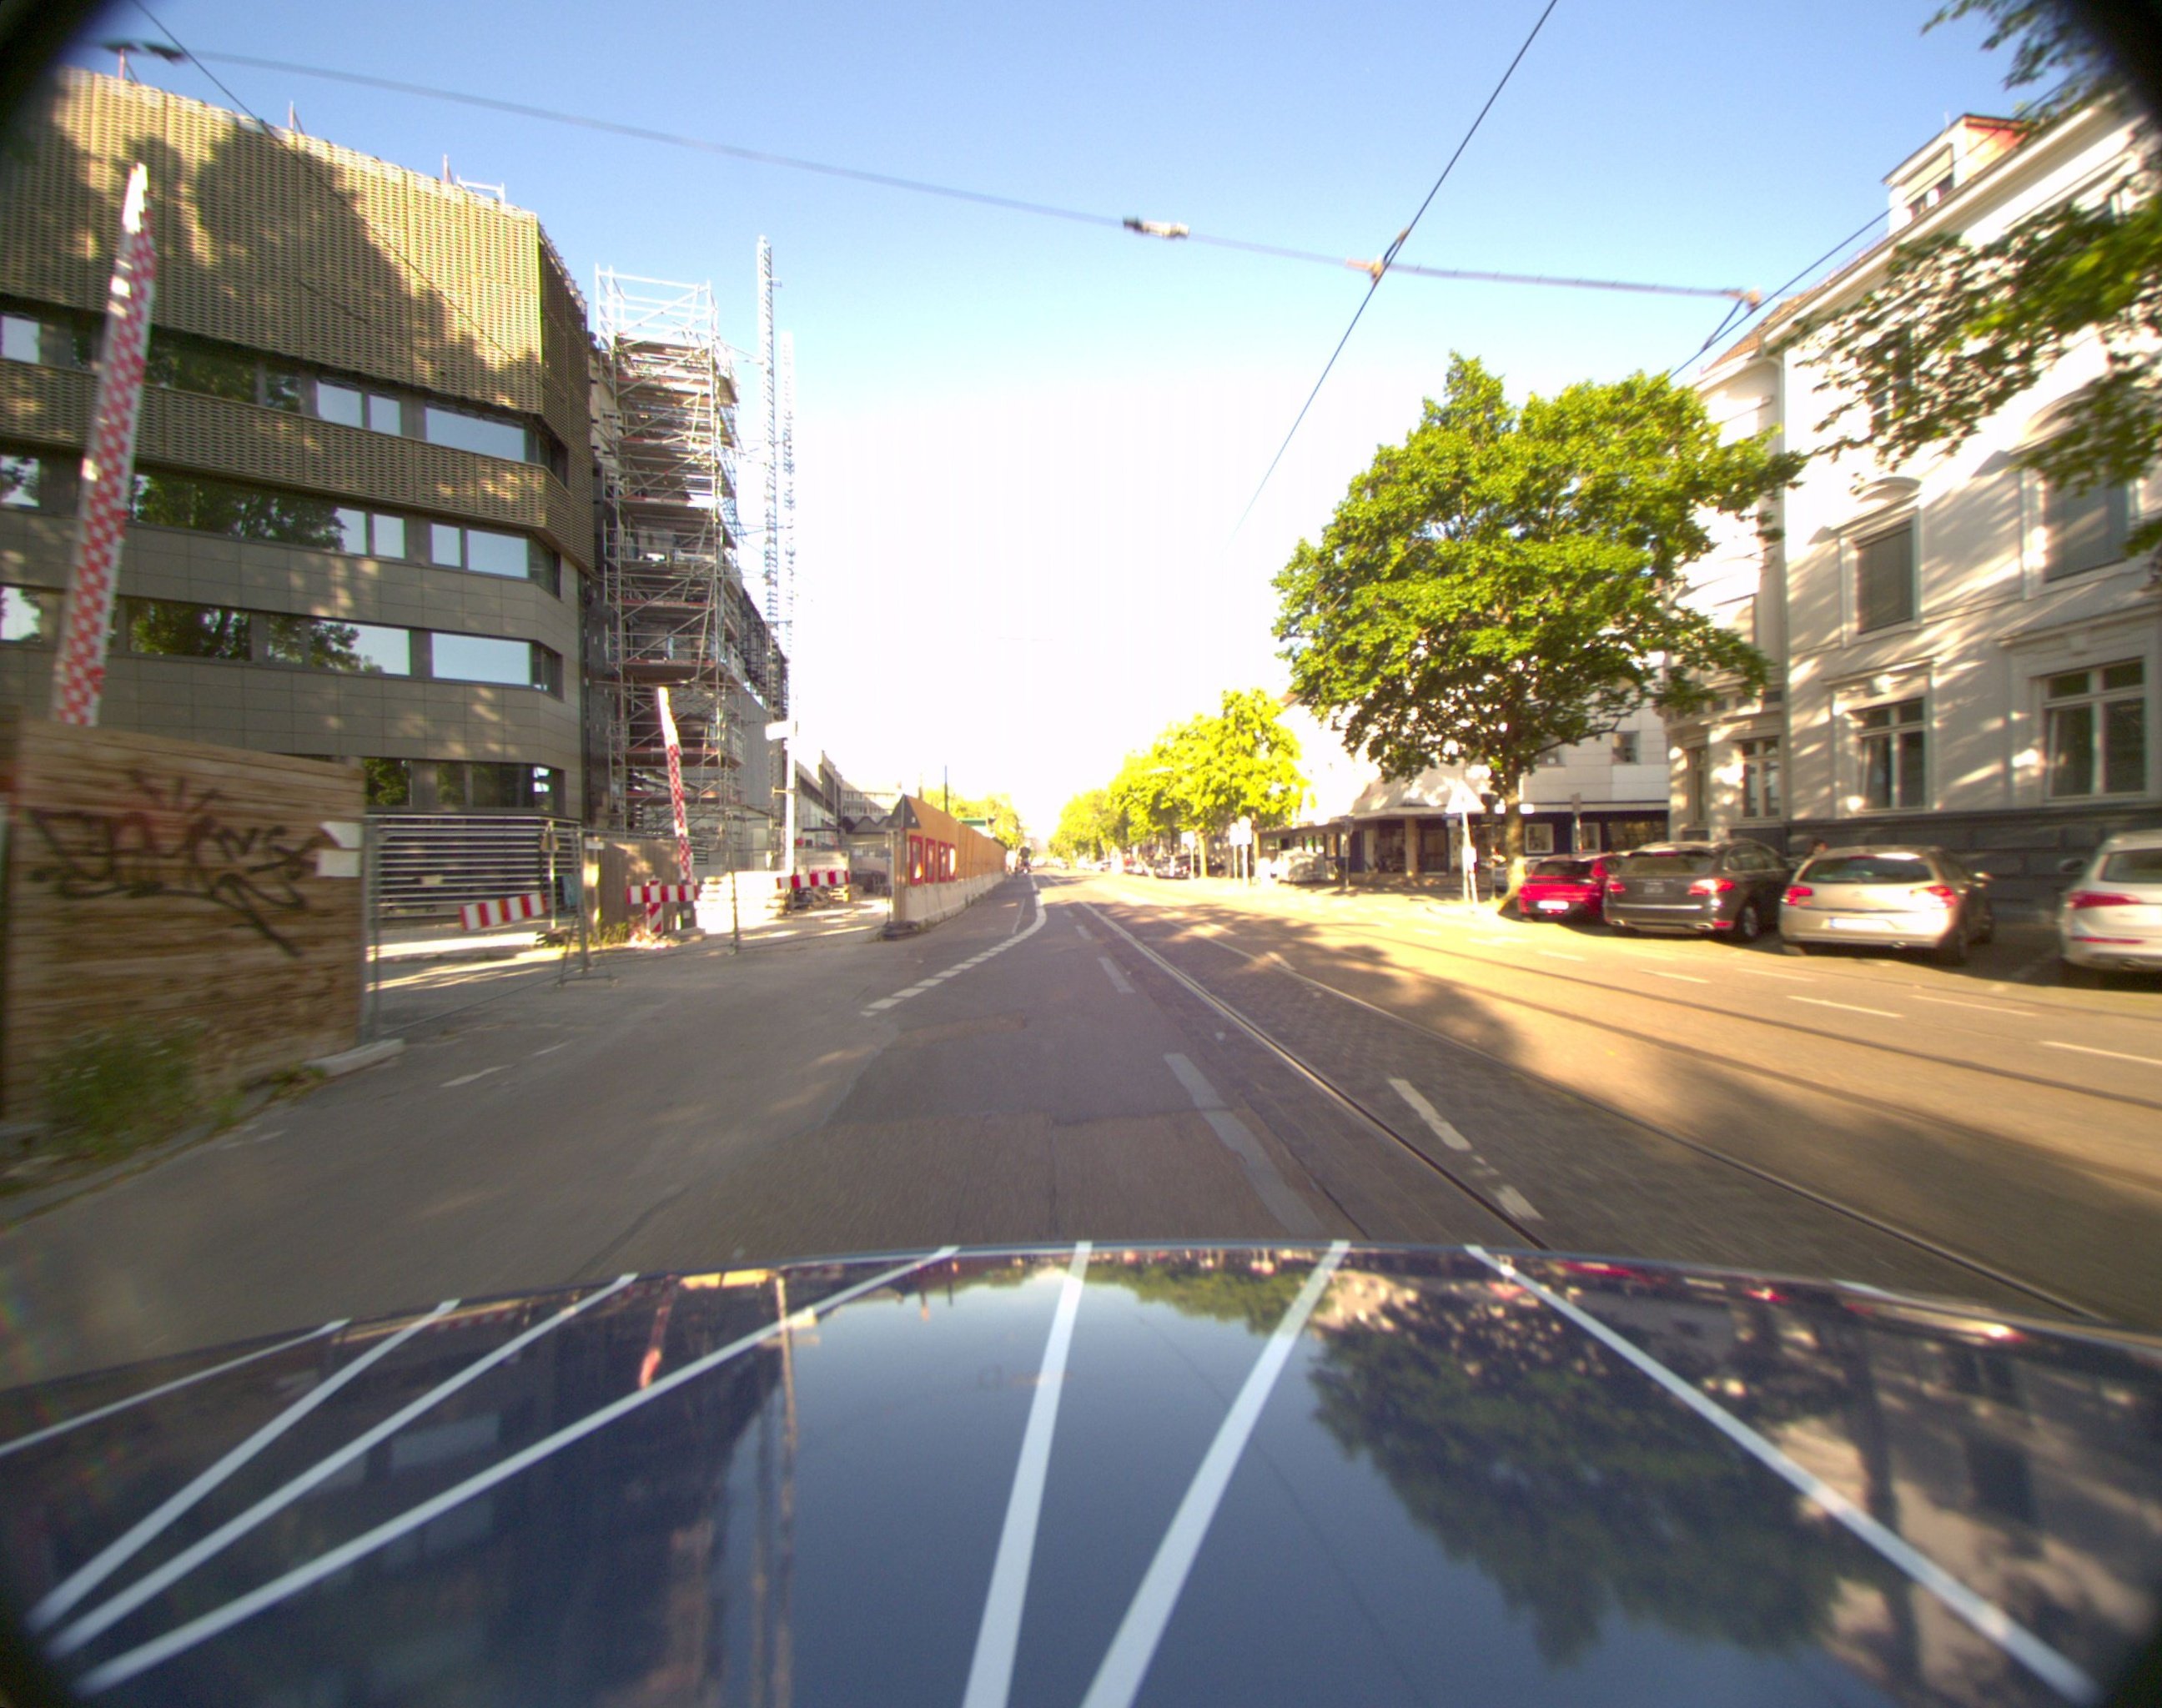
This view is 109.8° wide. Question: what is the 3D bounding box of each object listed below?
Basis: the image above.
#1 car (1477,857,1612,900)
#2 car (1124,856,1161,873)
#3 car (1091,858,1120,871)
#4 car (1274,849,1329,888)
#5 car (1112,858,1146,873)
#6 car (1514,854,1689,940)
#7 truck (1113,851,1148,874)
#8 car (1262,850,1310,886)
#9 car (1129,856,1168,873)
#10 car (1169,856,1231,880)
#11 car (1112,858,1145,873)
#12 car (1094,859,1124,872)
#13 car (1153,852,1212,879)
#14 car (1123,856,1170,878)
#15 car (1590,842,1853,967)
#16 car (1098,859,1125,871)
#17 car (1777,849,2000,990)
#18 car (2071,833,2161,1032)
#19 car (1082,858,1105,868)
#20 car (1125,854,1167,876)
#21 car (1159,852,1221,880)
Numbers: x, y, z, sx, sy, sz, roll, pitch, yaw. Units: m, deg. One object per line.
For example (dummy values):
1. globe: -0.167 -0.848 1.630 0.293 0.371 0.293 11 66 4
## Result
1. car: 17.194 0.876 28.312 3.998 1.477 1.781 -1 0 -4
2. car: 6.745 1.172 83.647 3.773 1.584 1.671 -4 0 -9
3. car: 3.452 1.476 107.498 3.773 1.584 1.671 -4 0 -9
4. car: 11.175 0.721 38.650 1.672 1.886 3.214 -1 0 -3
5. car: 5.756 1.387 91.775 3.773 1.584 1.671 -4 0 -9
6. car: 11.257 0.833 16.366 4.006 1.477 1.777 -3 1 -35
7. truck: 5.734 0.965 88.878 3.771 2.409 1.672 -4 0 -4
8. car: 11.390 0.756 42.400 1.672 1.886 3.214 -1 0 -3
9. car: 7.252 1.149 81.305 3.773 1.584 1.671 -4 0 -9
10. car: 8.809 1.026 56.388 4.102 1.561 1.671 -4 0 -9
11. car: 5.984 1.413 95.172 3.773 1.584 1.671 -4 0 -9
12. car: 3.841 1.561 104.018 3.773 1.584 1.671 -4 0 -9
13. car: 8.211 0.911 61.617 4.308 1.939 1.671 -4 0 -9
14. car: 6.235 1.246 72.649 4.102 1.767 1.671 -4 0 -9
15. car: 11.320 0.764 13.404 4.365 1.704 1.944 -4 1 -26
16. car: 4.504 1.585 112.986 3.773 1.584 1.671 -4 0 -9
17. car: 11.625 0.794 10.878 3.772 1.511 1.744 -4 1 -37
18. car: 11.991 0.693 7.975 4.207 1.714 1.780 -4 1 -35
19. car: 2.098 1.524 127.077 3.622 1.492 1.503 -4 0 -9
20. car: 6.381 1.105 74.758 3.806 1.927 1.671 -4 0 -9
21. car: 8.420 0.915 58.813 4.308 1.939 1.671 -4 0 -9
